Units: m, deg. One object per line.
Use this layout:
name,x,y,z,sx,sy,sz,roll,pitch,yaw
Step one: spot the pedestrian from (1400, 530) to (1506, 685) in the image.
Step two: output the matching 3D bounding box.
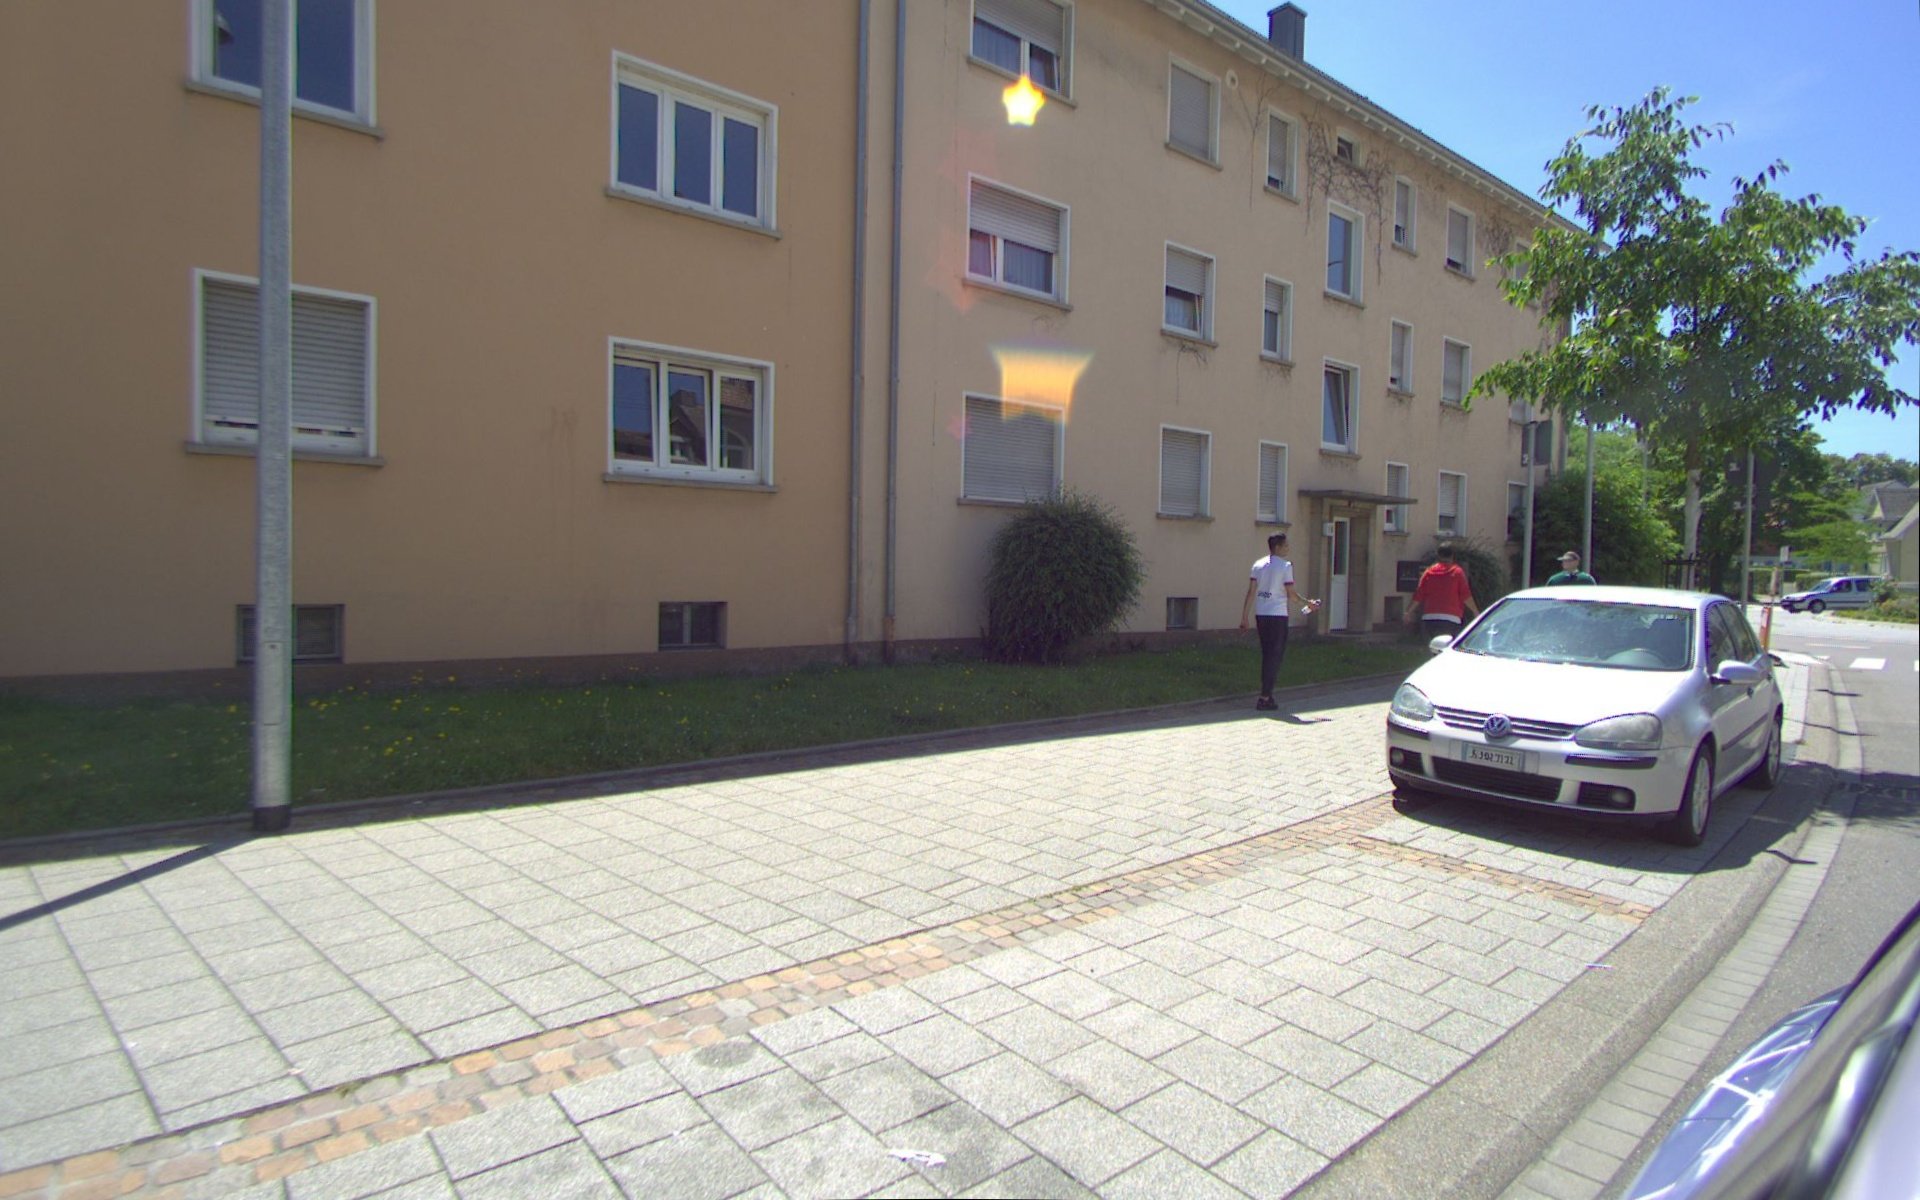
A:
pedestrian,6.213,0.074,12.749,0.989,1.833,0.789,0,4,-43

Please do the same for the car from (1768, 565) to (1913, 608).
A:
car,40.221,-0.643,46.362,4.497,1.758,1.994,2,2,12

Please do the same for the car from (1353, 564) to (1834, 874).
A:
car,4.733,0.533,7.249,4.432,1.494,1.816,-1,4,-43

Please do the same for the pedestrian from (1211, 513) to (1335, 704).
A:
pedestrian,3.283,0.063,10.602,0.968,1.876,0.821,0,2,-43

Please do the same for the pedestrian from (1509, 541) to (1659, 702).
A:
pedestrian,7.473,0.205,12.128,1.172,1.753,1.173,-1,5,-44

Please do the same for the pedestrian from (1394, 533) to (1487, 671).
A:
pedestrian,6.575,0.004,13.841,0.991,1.800,0.795,0,2,-43
